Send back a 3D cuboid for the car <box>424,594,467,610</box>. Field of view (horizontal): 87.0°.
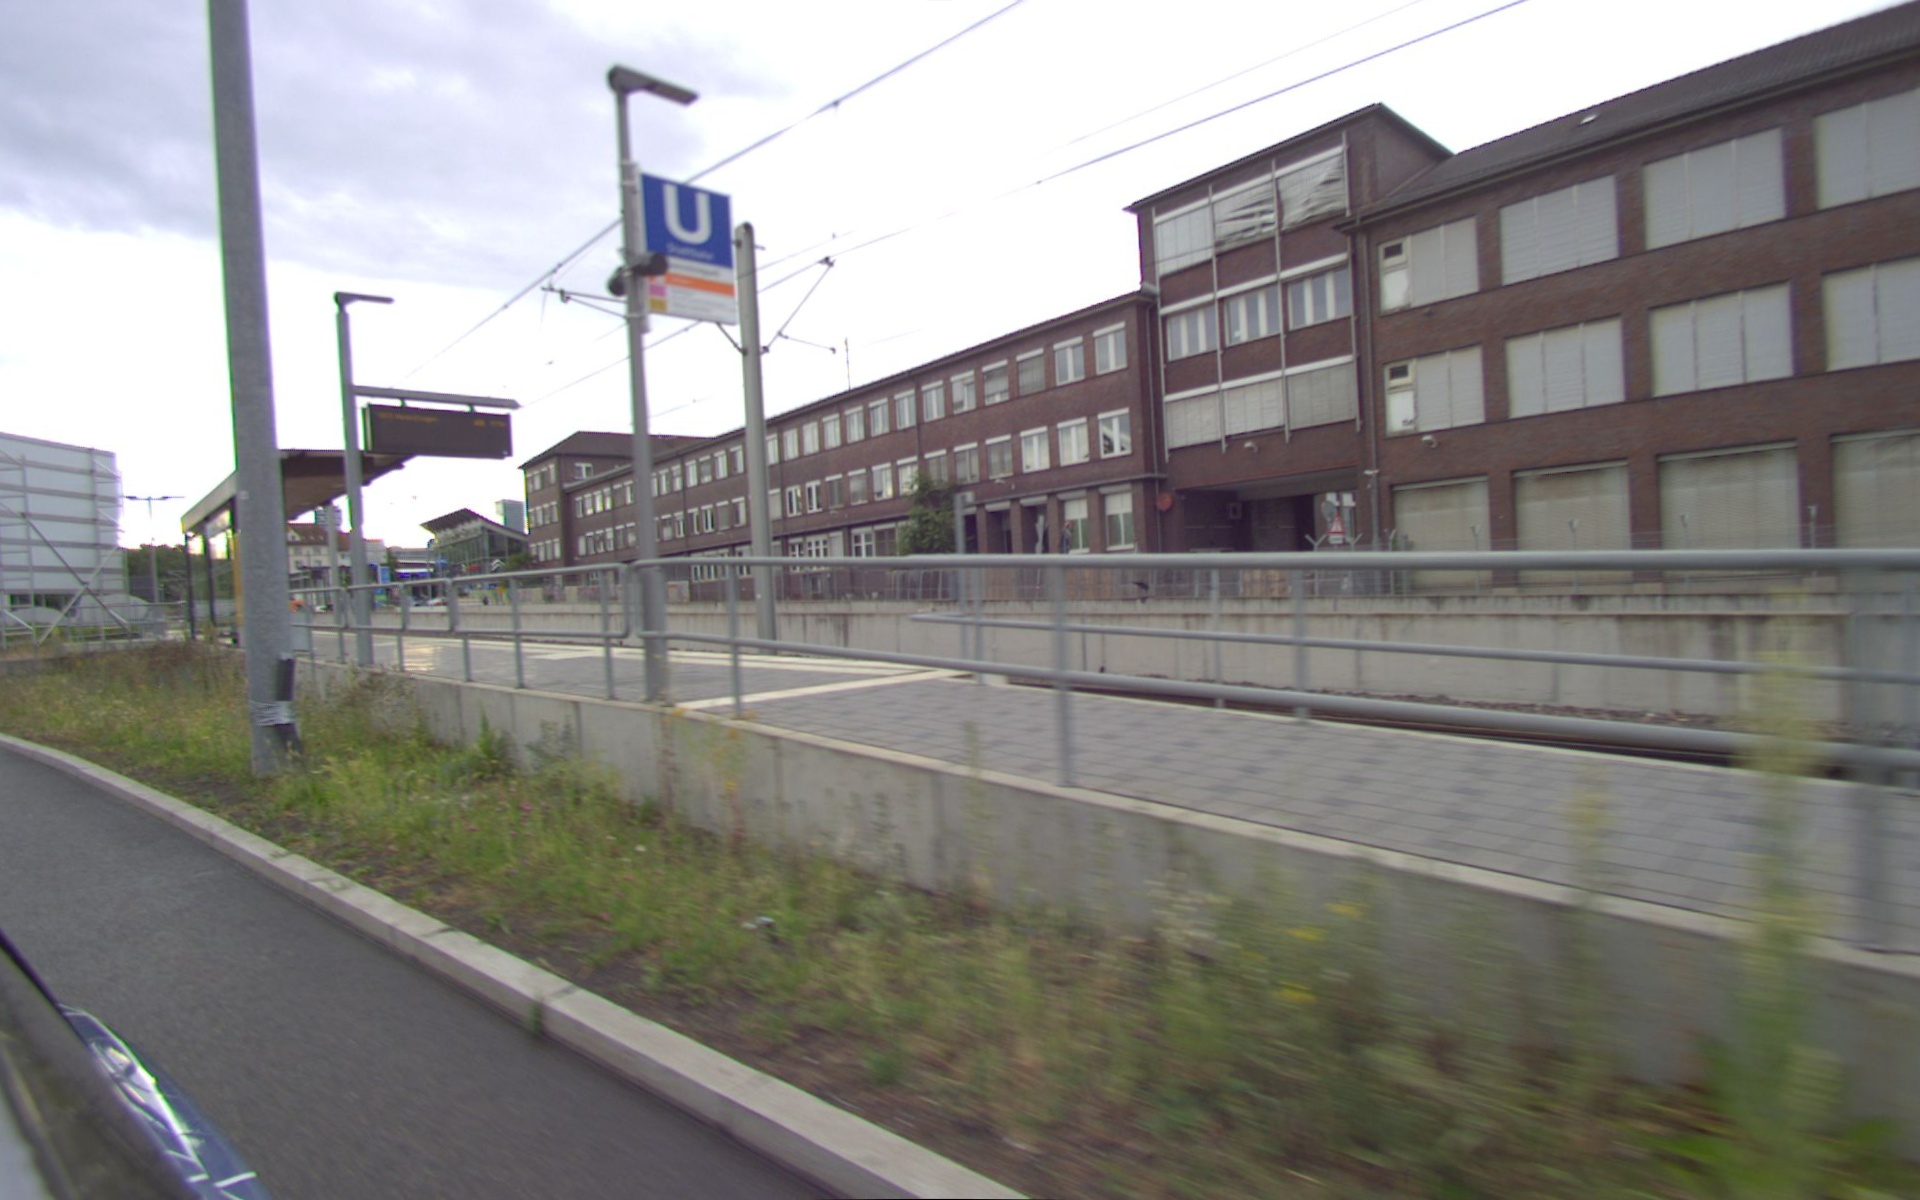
[{"bbox_3d":[-65.298,0.215,128.552,4.508,1.773,2.003,-3,1,-40],"label":"car"}]

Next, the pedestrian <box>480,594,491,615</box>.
[{"bbox_3d":[-47.263,0.456,100.792,0.723,2.029,0.578,-1,0,14],"label":"pedestrian"}]

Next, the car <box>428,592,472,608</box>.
[{"bbox_3d":[-63.432,0.050,125.816,4.508,1.773,2.003,-3,1,-40],"label":"car"}]

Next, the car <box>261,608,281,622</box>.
[{"bbox_3d":[-105.474,2.286,154.849,1.970,2.029,4.005,-1,0,-42],"label":"car"}]
